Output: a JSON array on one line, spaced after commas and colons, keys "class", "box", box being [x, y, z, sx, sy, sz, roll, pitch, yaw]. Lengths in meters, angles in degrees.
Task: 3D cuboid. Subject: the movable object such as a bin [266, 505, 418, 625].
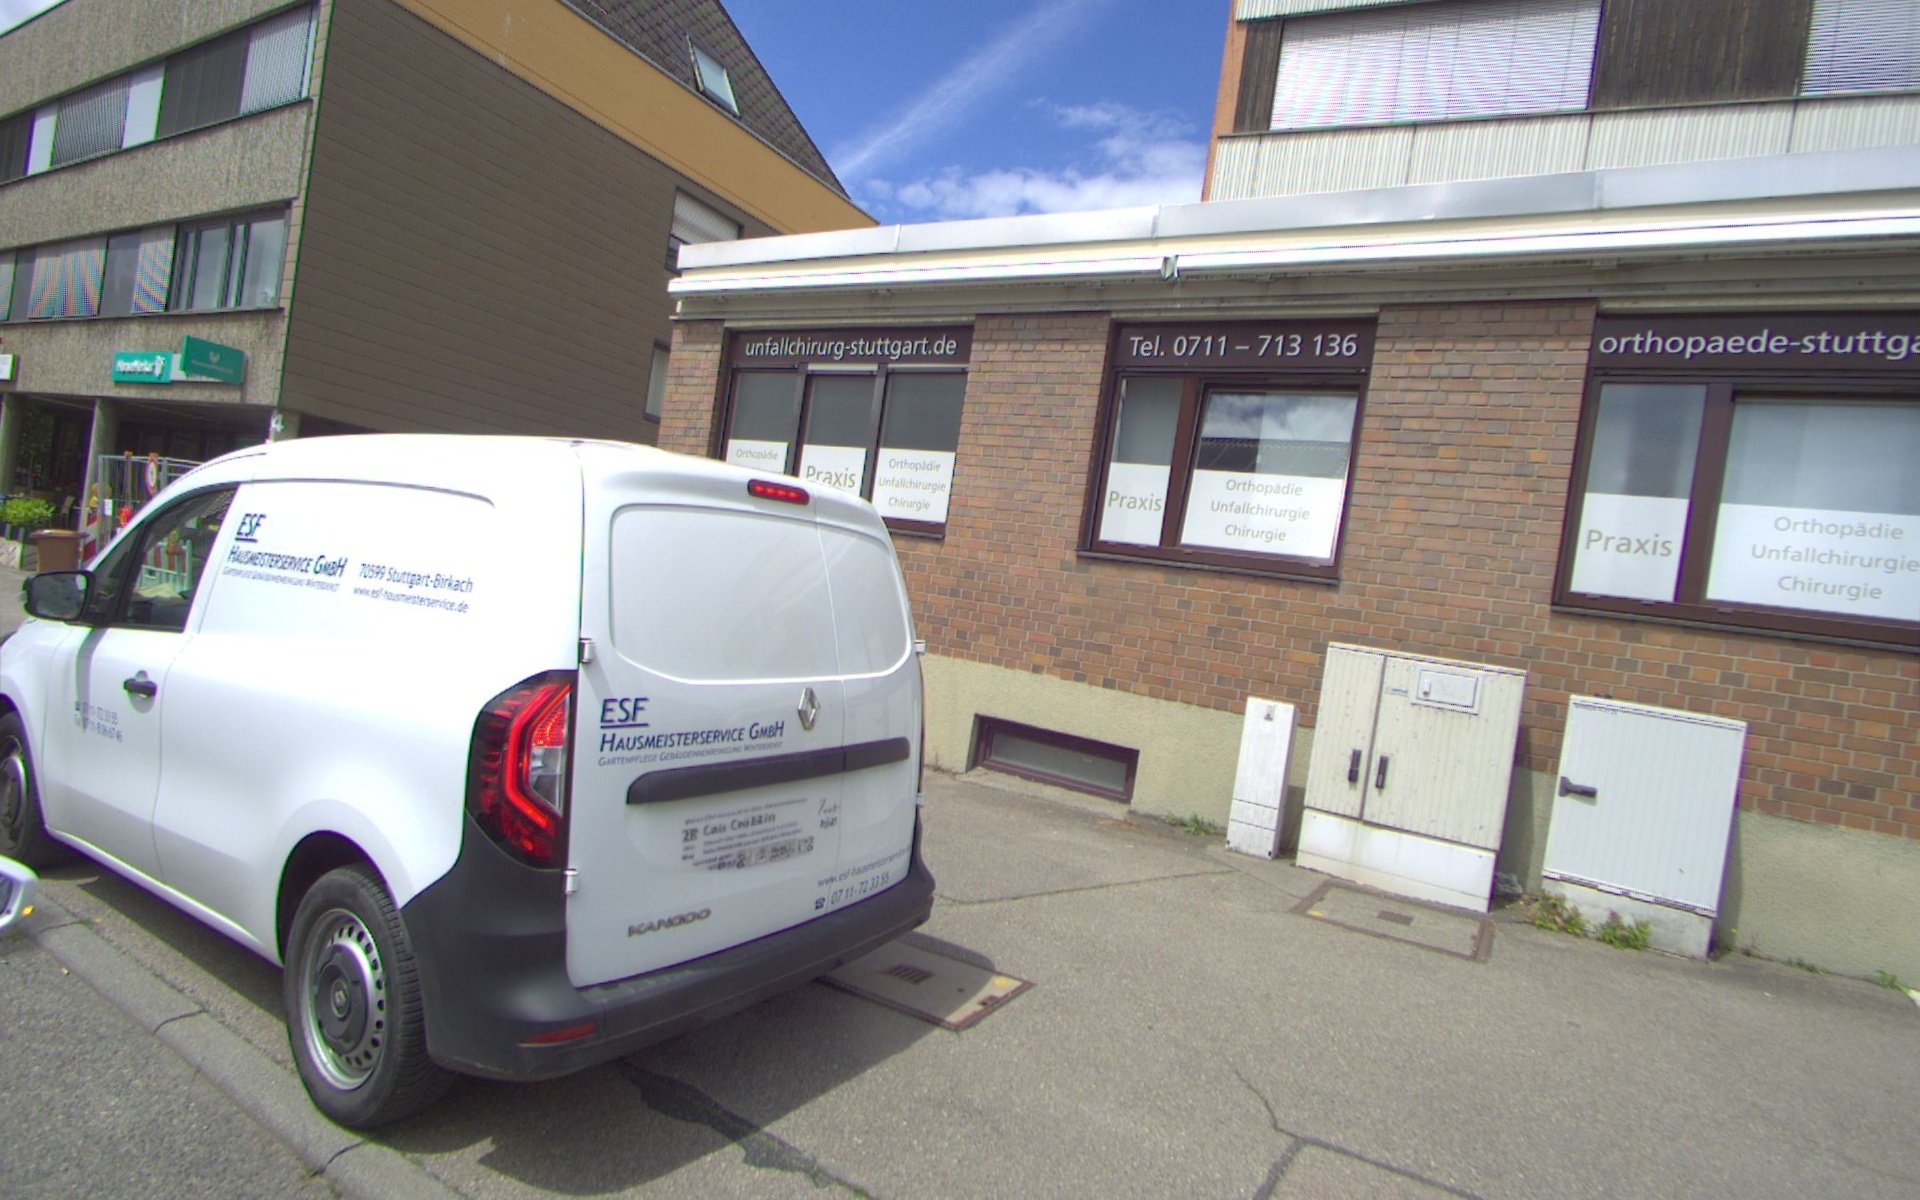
[{"class": "movable object such as a bin", "box": [-9.129, -0.494, 14.896, 1.059, 1.511, 1.483, 10, 2, 34]}]

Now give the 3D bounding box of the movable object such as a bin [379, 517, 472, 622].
[{"class": "movable object such as a bin", "box": [-8.442, -0.479, 15.889, 1.001, 1.458, 0.780, 10, 3, 35]}]

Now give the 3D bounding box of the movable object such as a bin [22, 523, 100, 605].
[{"class": "movable object such as a bin", "box": [-12.428, -0.504, 13.931, 0.597, 1.039, 0.673, 6, 1, -29]}]

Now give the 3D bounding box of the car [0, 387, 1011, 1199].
[{"class": "car", "box": [-2.256, 0.285, 4.063, 4.417, 1.818, 1.911, 7, 2, 32]}]

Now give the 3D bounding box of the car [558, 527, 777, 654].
[{"class": "car", "box": [-4.912, -0.202, 17.468, 1.882, 1.803, 3.772, 6, 3, 14]}]
